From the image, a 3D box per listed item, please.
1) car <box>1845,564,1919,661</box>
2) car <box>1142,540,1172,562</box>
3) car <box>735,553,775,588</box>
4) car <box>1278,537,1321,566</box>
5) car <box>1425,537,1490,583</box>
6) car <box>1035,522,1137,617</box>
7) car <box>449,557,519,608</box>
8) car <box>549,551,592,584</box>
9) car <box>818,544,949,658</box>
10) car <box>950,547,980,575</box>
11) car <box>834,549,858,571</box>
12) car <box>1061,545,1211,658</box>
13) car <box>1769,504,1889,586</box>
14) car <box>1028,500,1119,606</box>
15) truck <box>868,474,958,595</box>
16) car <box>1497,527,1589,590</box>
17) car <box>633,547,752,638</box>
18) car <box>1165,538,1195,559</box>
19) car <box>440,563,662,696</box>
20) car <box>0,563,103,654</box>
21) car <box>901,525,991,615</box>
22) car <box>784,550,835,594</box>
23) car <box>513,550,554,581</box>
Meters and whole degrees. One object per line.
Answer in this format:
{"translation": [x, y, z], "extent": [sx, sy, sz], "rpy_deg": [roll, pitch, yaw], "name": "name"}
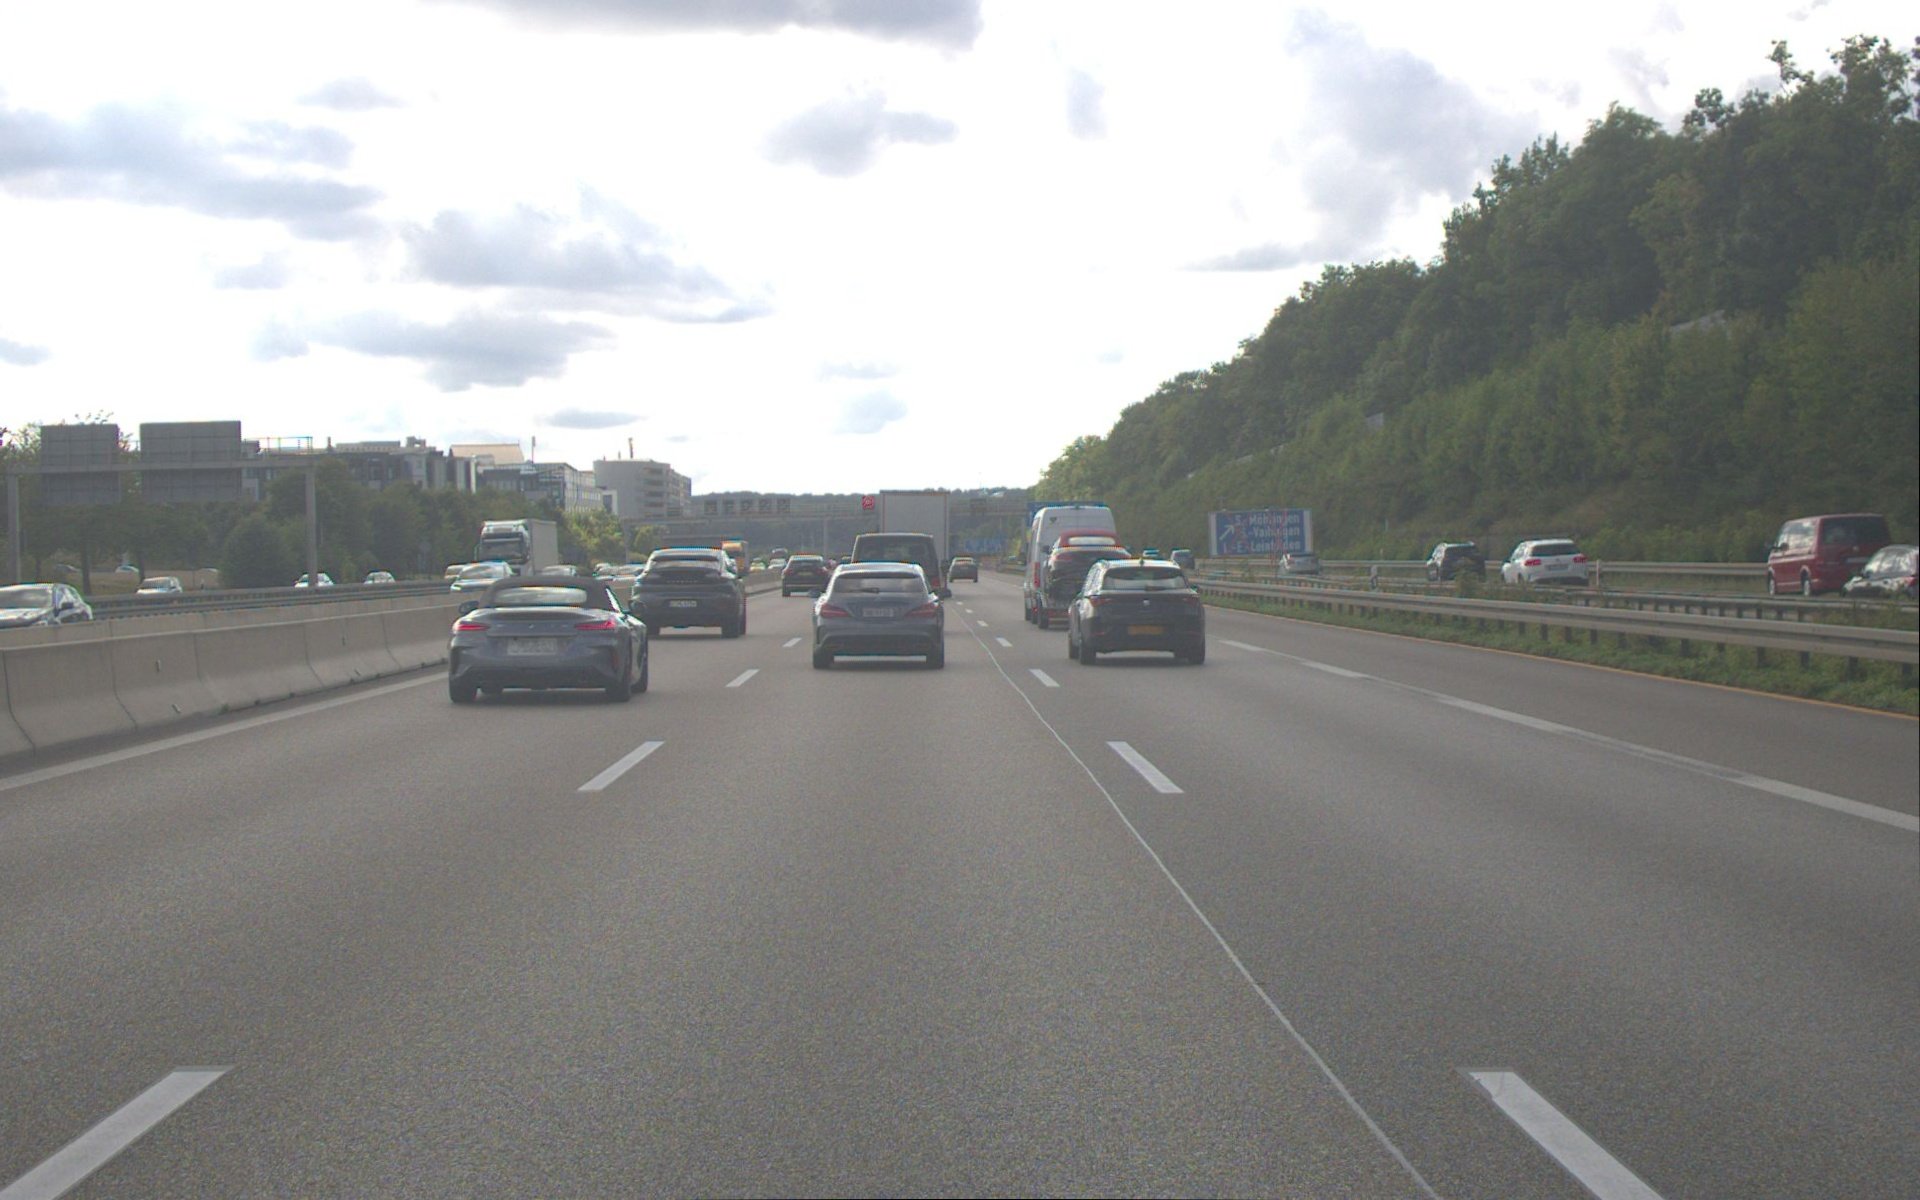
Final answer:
{"translation": [16.118, 0.181, 57.124], "extent": [1.595, 1.540, 4.191], "rpy_deg": [0, 1, -2], "name": "car"}
{"translation": [13.694, -3.403, 238.852], "extent": [1.729, 1.528, 4.453], "rpy_deg": [-1, 1, -1], "name": "car"}
{"translation": [-9.418, -1.363, 158.205], "extent": [1.666, 1.550, 4.000], "rpy_deg": [0, 1, -1], "name": "car"}
{"translation": [17.874, -2.569, 181.088], "extent": [1.752, 1.511, 4.191], "rpy_deg": [0, 1, -2], "name": "car"}
{"translation": [18.566, -1.488, 128.350], "extent": [1.752, 1.689, 4.190], "rpy_deg": [0, 1, -1], "name": "car"}
{"translation": [2.591, -0.647, 71.650], "extent": [1.913, 1.912, 4.031], "rpy_deg": [0, 1, -1], "name": "car"}
{"translation": [-14.888, -0.562, 107.704], "extent": [1.666, 1.550, 4.000], "rpy_deg": [0, 1, -1], "name": "car"}
{"translation": [-18.698, -1.555, 165.289], "extent": [1.666, 1.550, 4.000], "rpy_deg": [0, 1, -1], "name": "car"}
{"translation": [-1.037, -0.023, 47.402], "extent": [1.720, 1.474, 4.392], "rpy_deg": [0, 1, -1], "name": "car"}
{"translation": [0.314, -2.406, 211.755], "extent": [1.752, 1.689, 4.190], "rpy_deg": [0, 1, -1], "name": "car"}
{"translation": [-8.398, -2.953, 252.817], "extent": [1.666, 1.550, 4.000], "rpy_deg": [0, 1, -1], "name": "car"}
{"translation": [2.438, -0.017, 48.554], "extent": [1.832, 1.516, 4.225], "rpy_deg": [0, 1, -1], "name": "car"}
{"translation": [19.451, -1.230, 77.097], "extent": [1.595, 1.798, 3.825], "rpy_deg": [0, 1, -2], "name": "car"}
{"translation": [2.569, -1.084, 78.654], "extent": [1.873, 2.349, 4.282], "rpy_deg": [0, 1, -1], "name": "car"}
{"translation": [-1.773, -2.481, 130.454], "extent": [3.263, 4.360, 11.027], "rpy_deg": [0, 1, -1], "name": "truck"}
{"translation": [16.052, -1.150, 94.778], "extent": [1.752, 1.689, 4.190], "rpy_deg": [0, 1, -1], "name": "car"}
{"translation": [-5.065, -0.181, 65.654], "extent": [1.912, 1.630, 5.500], "rpy_deg": [0, 1, -1], "name": "car"}
{"translation": [16.137, -3.781, 252.164], "extent": [1.752, 1.511, 4.191], "rpy_deg": [0, 1, -2], "name": "car"}
{"translation": [-4.335, 0.268, 37.117], "extent": [1.873, 1.298, 4.943], "rpy_deg": [0, 1, -1], "name": "car"}
{"translation": [-17.486, 0.134, 64.663], "extent": [1.779, 1.640, 4.072], "rpy_deg": [0, 1, -1], "name": "car"}
{"translation": [-0.303, -0.613, 68.374], "extent": [1.720, 1.718, 4.392], "rpy_deg": [0, 1, -1], "name": "car"}
{"translation": [-5.861, -1.092, 134.404], "extent": [1.873, 1.692, 4.072], "rpy_deg": [0, 1, -1], "name": "car"}
{"translation": [-21.638, -1.749, 174.463], "extent": [1.666, 1.550, 4.000], "rpy_deg": [0, 1, -1], "name": "car"}
